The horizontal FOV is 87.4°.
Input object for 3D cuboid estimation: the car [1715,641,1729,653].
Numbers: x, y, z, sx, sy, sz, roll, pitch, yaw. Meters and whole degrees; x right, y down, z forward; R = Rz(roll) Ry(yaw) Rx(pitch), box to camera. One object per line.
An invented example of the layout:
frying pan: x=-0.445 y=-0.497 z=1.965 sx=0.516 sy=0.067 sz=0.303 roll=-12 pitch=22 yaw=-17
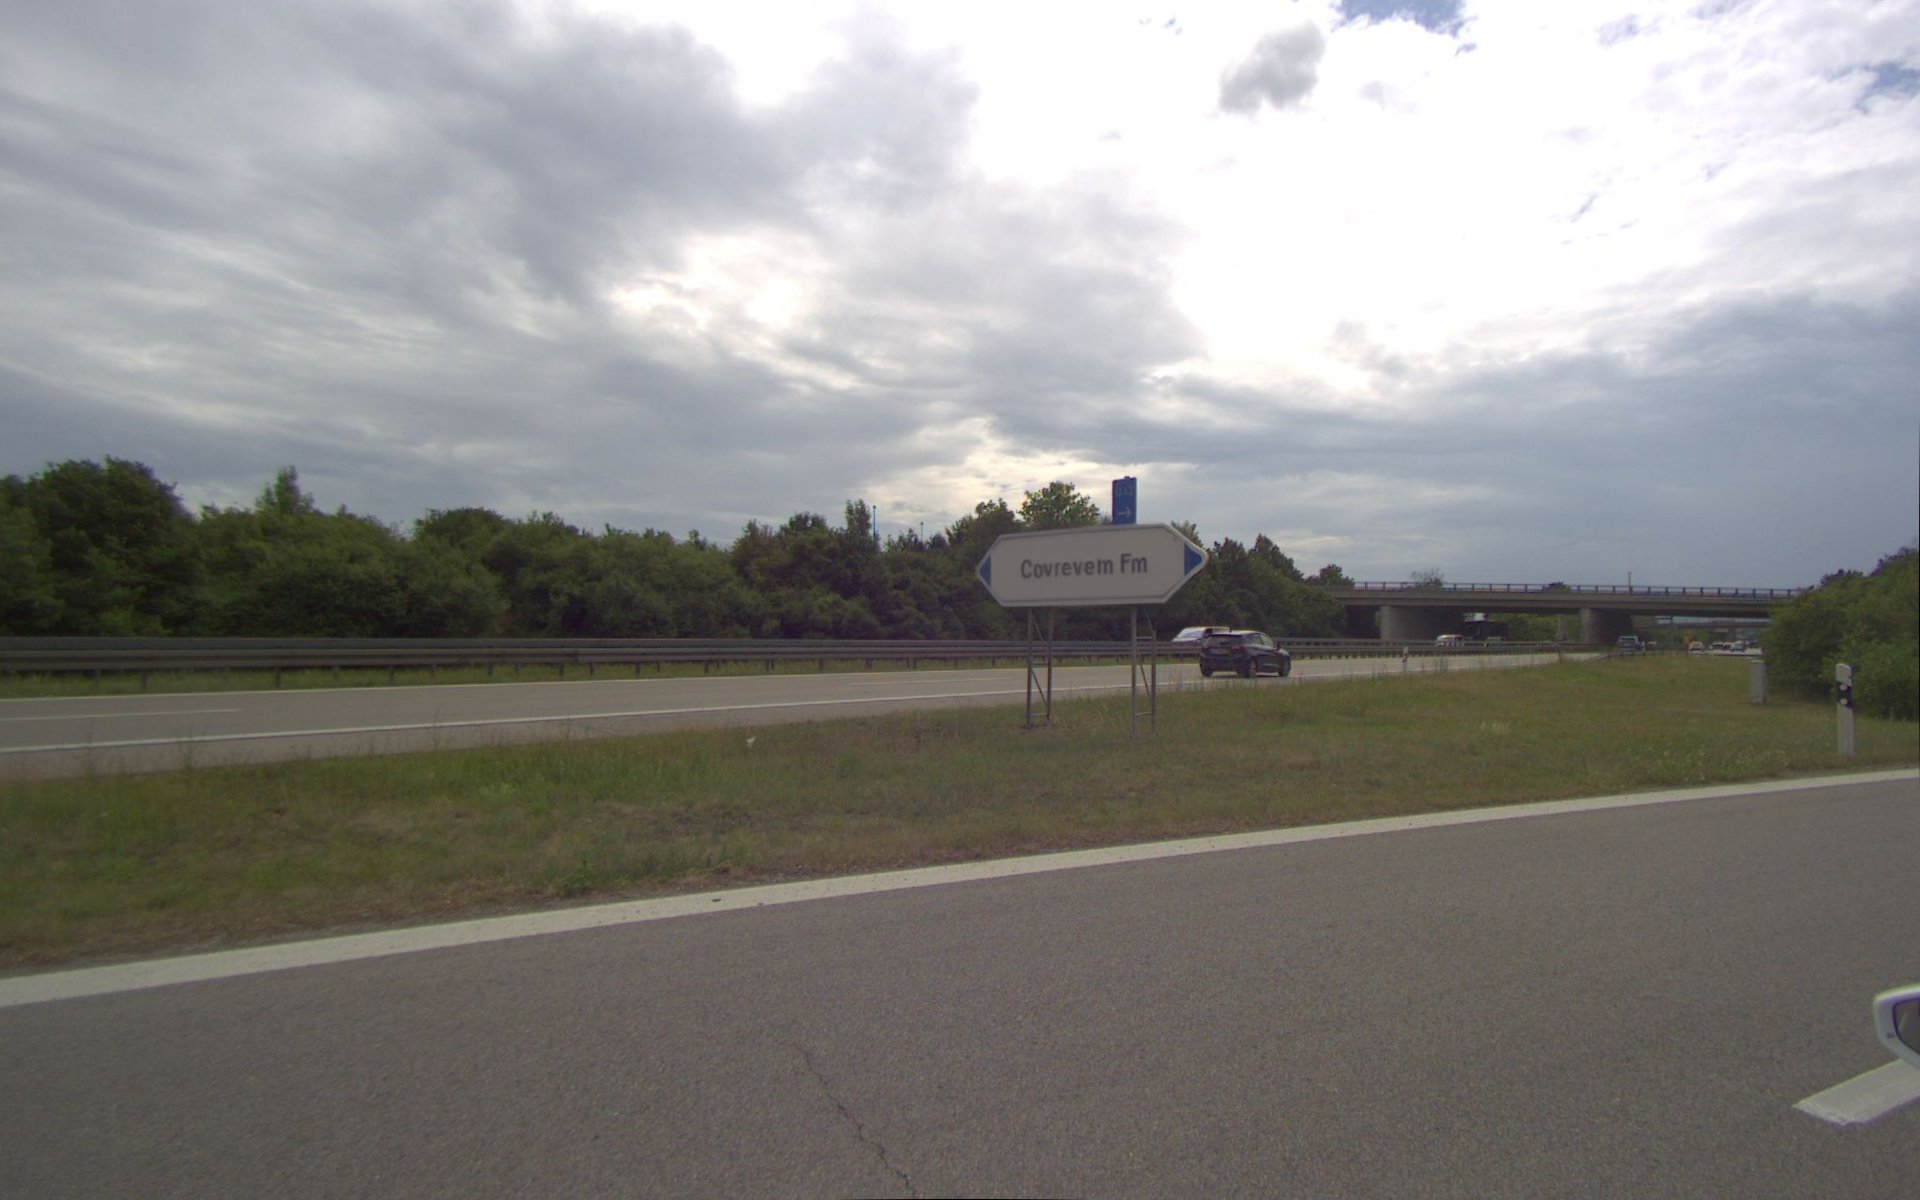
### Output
car: x=146.236 y=9.050 z=192.726 sx=1.969 sy=2.040 sz=3.984 roll=2 pitch=-1 yaw=38

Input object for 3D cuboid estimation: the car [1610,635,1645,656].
car: x=61.362 y=4.155 z=92.256 sx=1.972 sy=1.785 sz=4.897 roll=0 pitch=-2 yaw=42

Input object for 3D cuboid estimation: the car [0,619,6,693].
car: x=-23.725 y=1.211 z=21.976 sx=1.971 sy=1.650 sz=3.979 roll=0 pitch=-2 yaw=42

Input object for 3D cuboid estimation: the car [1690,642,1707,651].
car: x=117.043 y=7.383 z=159.144 sx=1.815 sy=1.472 sz=4.358 roll=0 pitch=-2 yaw=40

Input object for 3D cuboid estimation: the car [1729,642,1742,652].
car: x=131.581 y=7.981 z=170.399 sx=1.697 sy=1.539 sz=3.981 roll=0 pitch=-2 yaw=40

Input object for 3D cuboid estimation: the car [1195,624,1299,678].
car: x=9.241 y=1.605 z=32.191 sx=1.691 sy=1.576 sz=3.980 roll=0 pitch=-2 yaw=41

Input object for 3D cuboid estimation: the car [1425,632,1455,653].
car: x=48.484 y=4.327 z=101.417 sx=1.969 sy=2.040 sz=3.984 roll=0 pitch=-2 yaw=38
